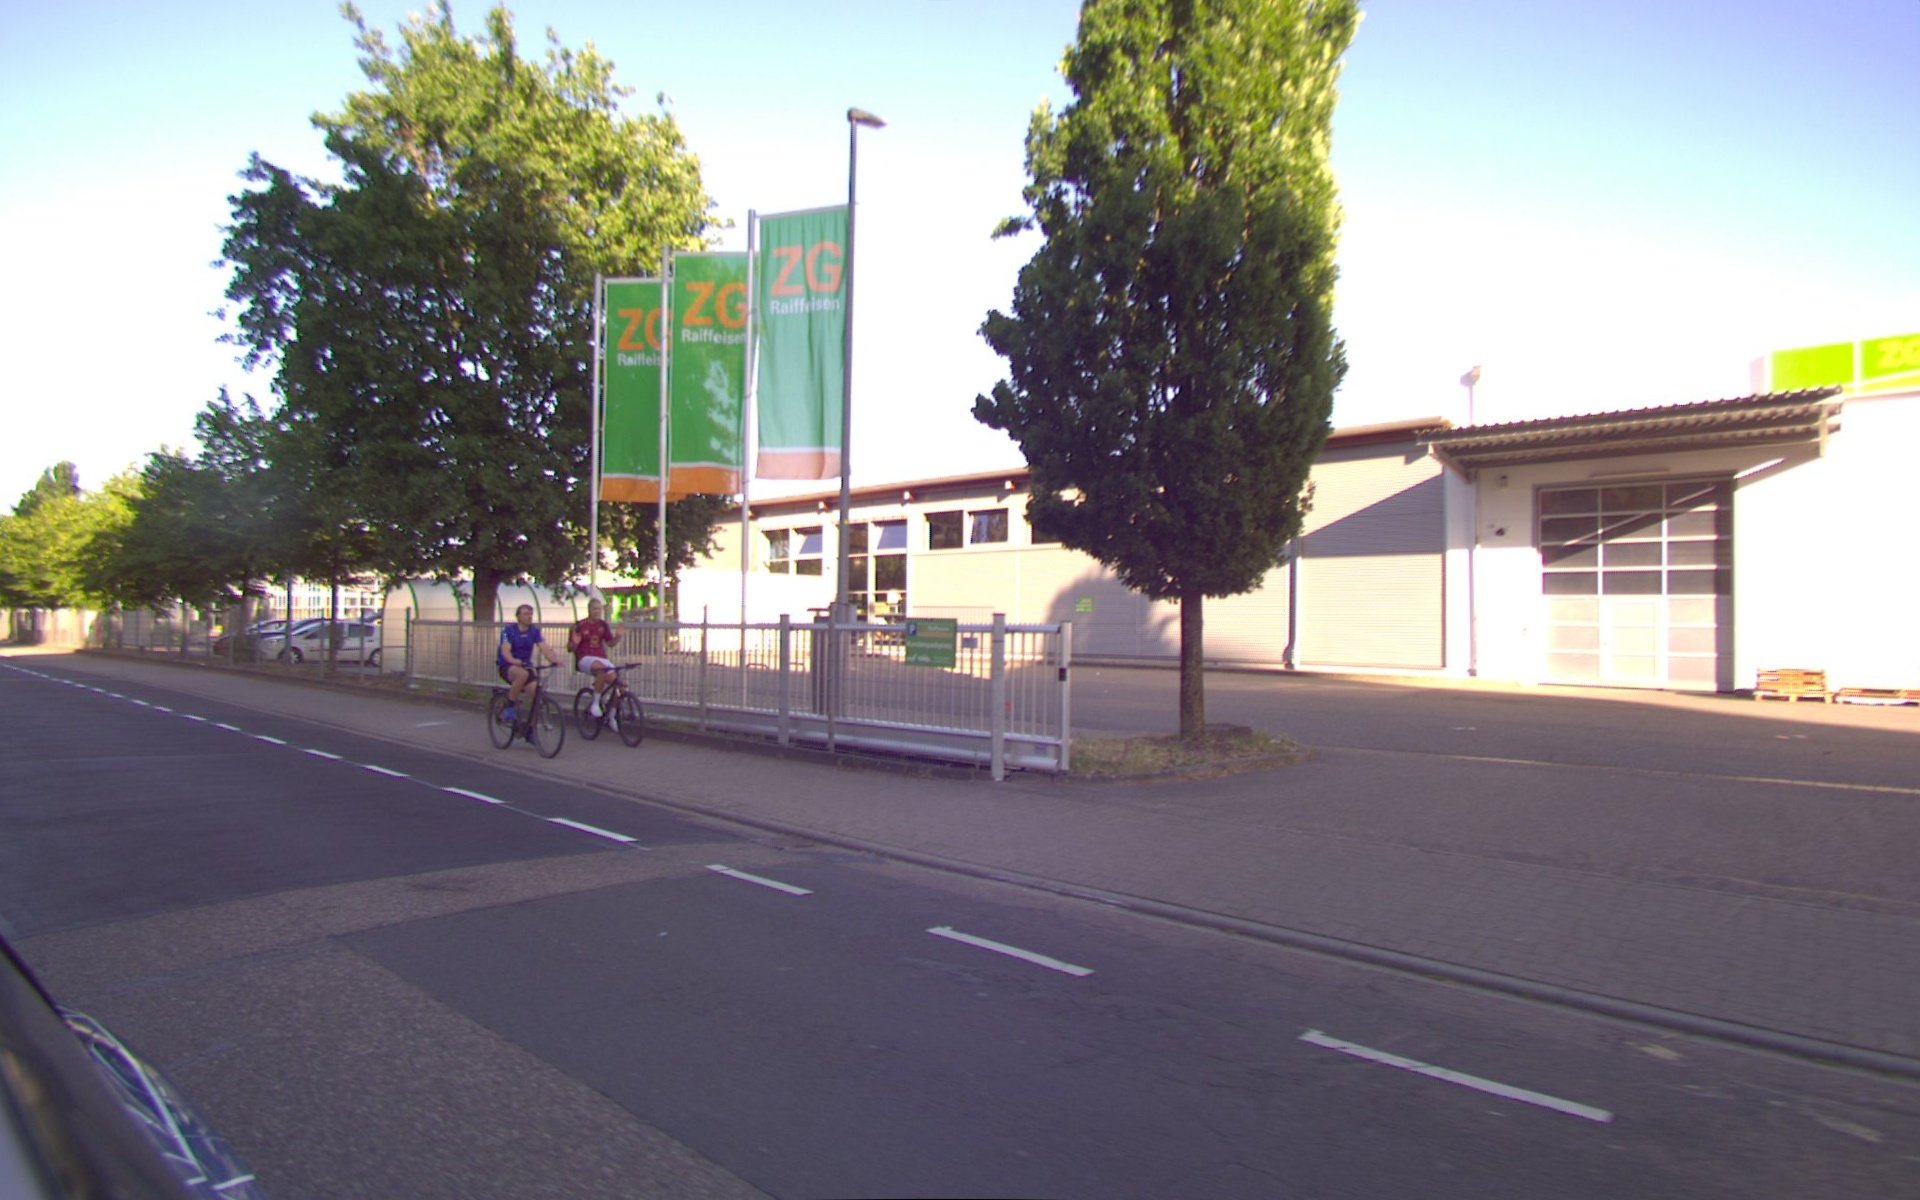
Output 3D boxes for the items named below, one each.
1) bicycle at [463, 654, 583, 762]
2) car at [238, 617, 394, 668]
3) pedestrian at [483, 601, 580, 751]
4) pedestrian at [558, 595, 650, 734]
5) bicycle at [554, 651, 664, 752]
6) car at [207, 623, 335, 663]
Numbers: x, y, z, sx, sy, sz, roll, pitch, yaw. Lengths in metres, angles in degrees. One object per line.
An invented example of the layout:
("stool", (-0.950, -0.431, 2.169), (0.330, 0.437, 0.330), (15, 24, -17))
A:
("bicycle", (-5.404, 1.281, 12.441), (2.200, 1.157, 0.441), (-1, 0, 41))
("car", (-20.645, 1.399, 32.572), (1.785, 1.523, 3.849), (-1, -4, 41))
("pedestrian", (-5.235, 0.892, 12.361), (1.057, 1.734, 0.713), (-1, -1, 41))
("pedestrian", (-4.652, 0.807, 13.202), (1.057, 1.734, 0.713), (-1, -1, 41))
("bicycle", (-4.555, 1.269, 13.065), (1.868, 1.157, 0.465), (-1, 0, 41))
("car", (-26.450, 1.677, 38.936), (1.804, 1.462, 3.688), (-1, -4, 39))
